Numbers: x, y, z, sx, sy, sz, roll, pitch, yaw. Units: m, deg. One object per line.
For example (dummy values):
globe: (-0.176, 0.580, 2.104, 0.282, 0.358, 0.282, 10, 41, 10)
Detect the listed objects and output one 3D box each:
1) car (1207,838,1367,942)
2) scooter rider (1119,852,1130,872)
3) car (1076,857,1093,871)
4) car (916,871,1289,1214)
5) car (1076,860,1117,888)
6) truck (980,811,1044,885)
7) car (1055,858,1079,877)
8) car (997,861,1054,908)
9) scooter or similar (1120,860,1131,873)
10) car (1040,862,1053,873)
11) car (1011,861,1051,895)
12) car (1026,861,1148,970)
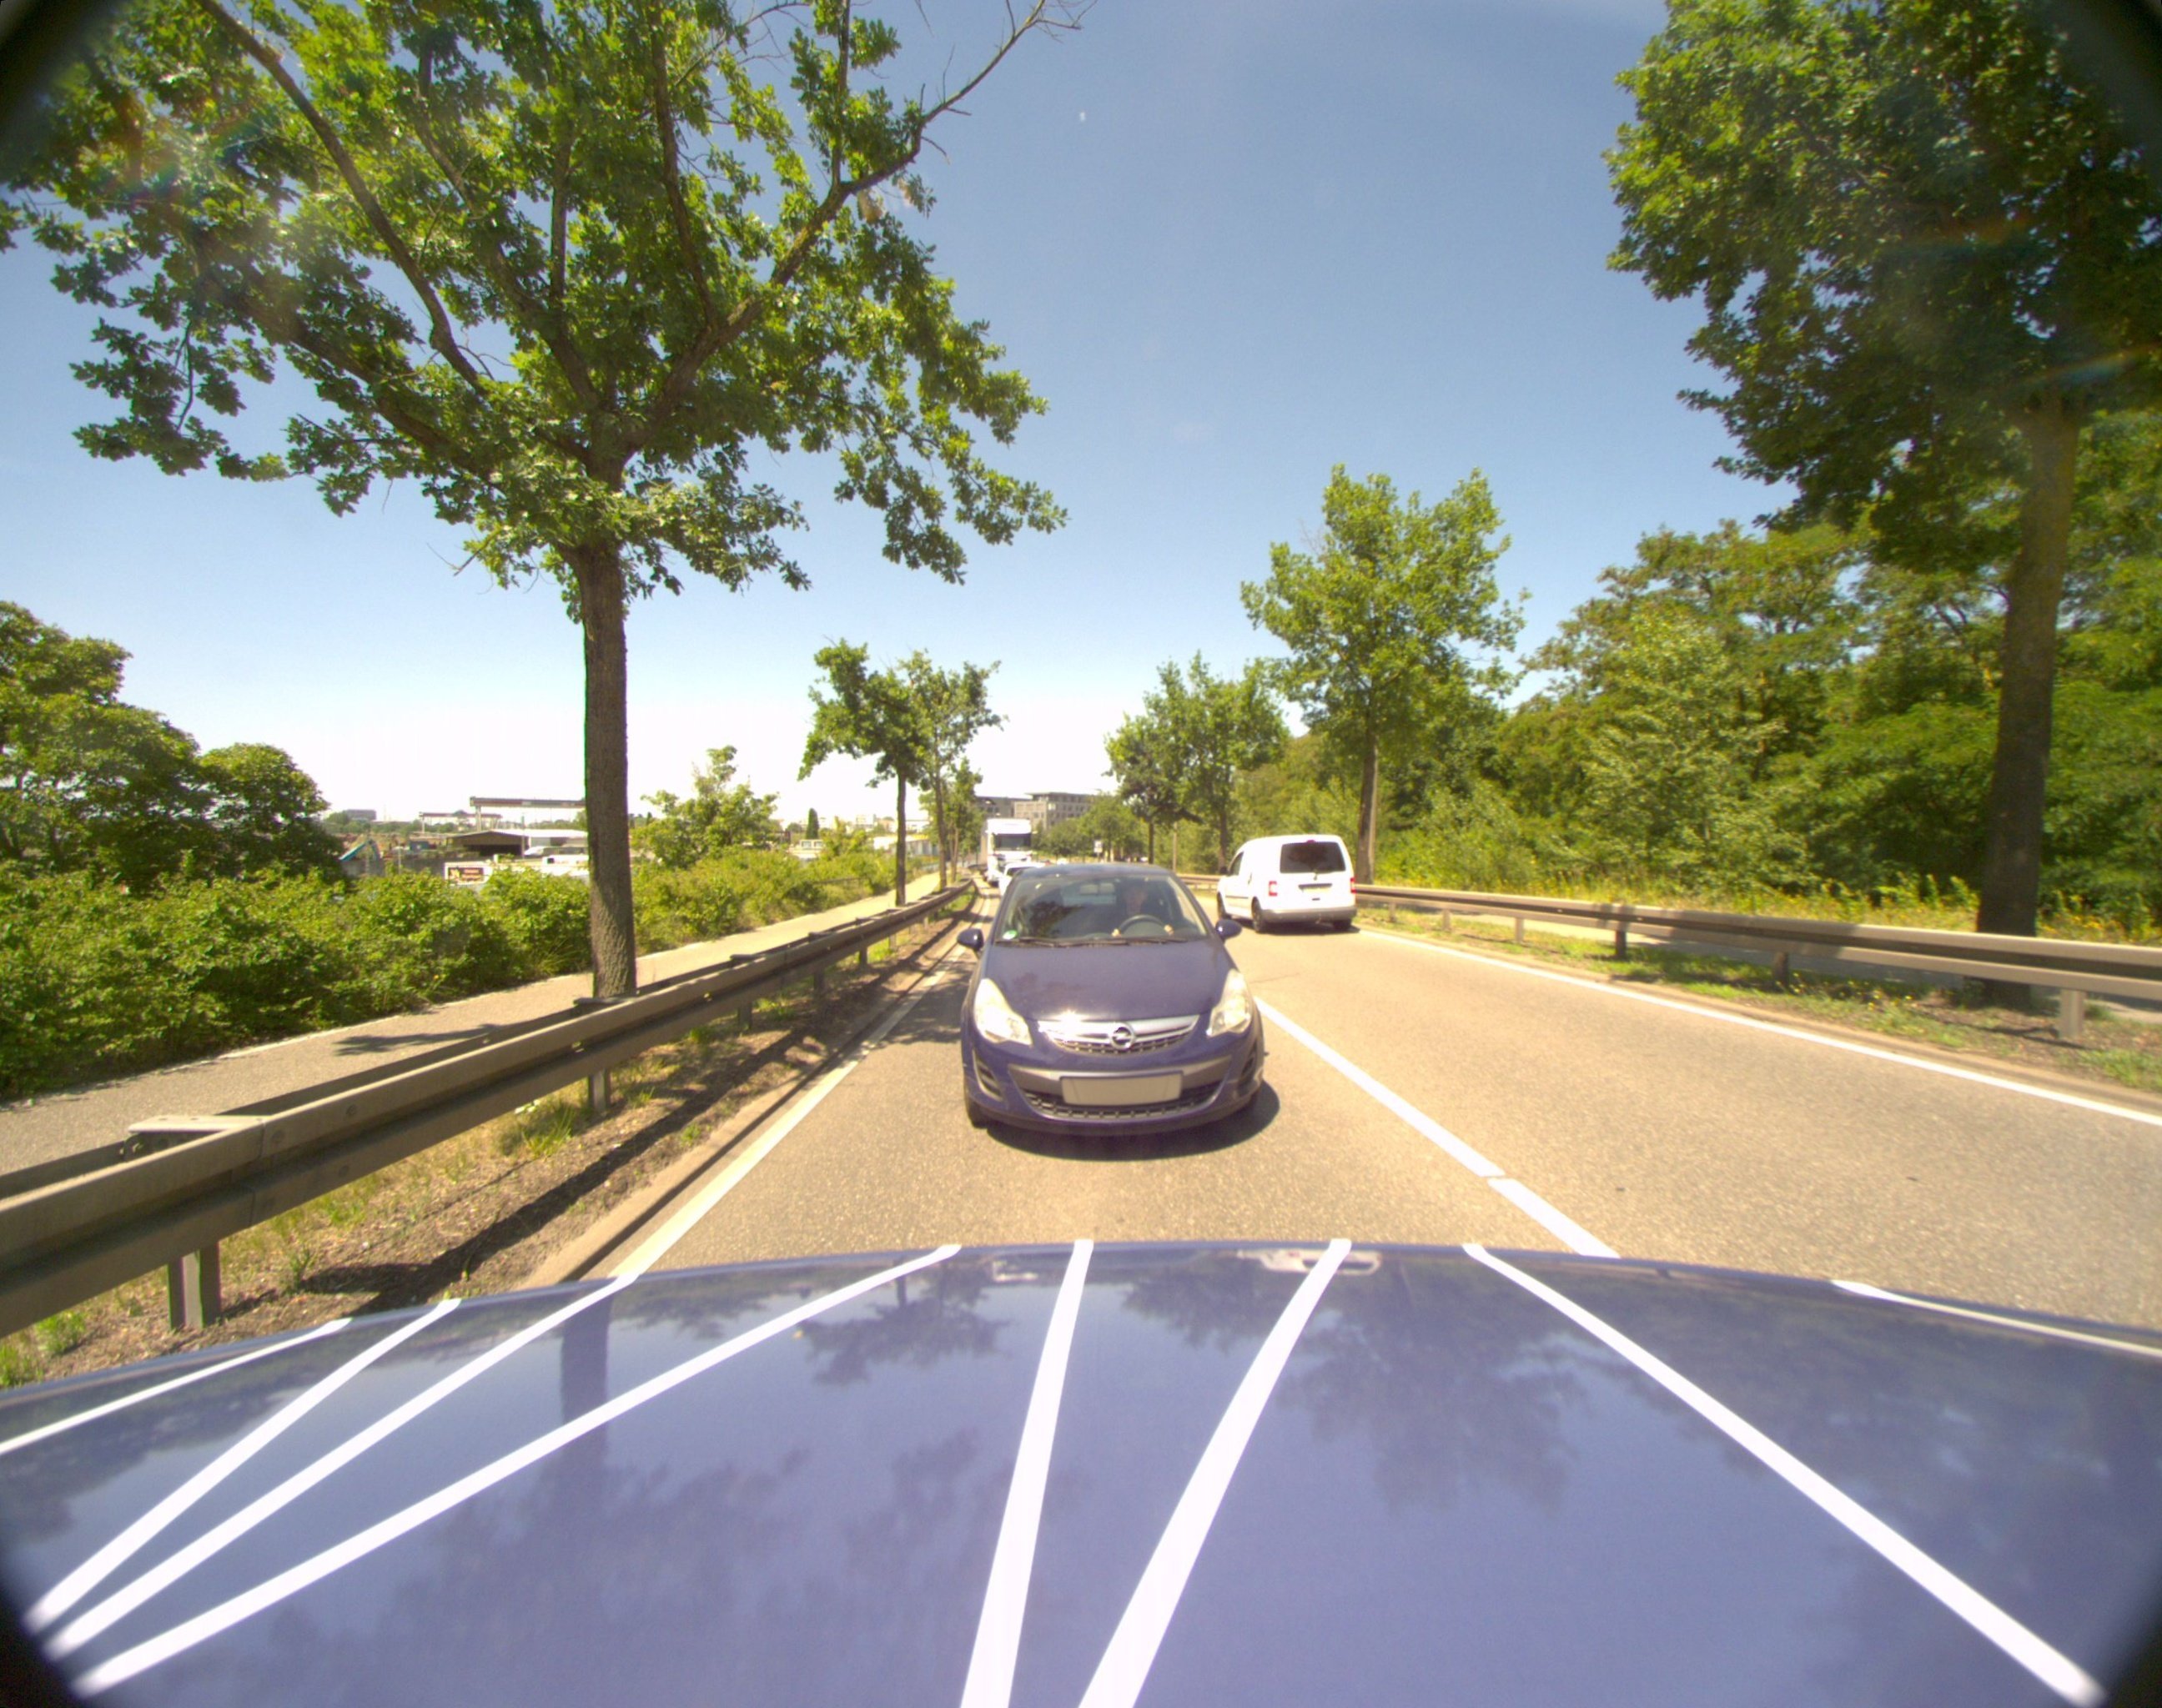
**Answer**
car: (3.959, 0.616, 15.430, 1.750, 1.753, 4.387, -2, 0, -4)
scooter rider: (3.833, 0.692, 66.570, 0.779, 1.648, 1.120, -2, 1, -4)
car: (0.461, 1.225, 94.597, 1.873, 1.594, 4.394, -2, 0, 2)
car: (0.059, 0.932, 5.518, 1.720, 1.455, 3.837, -2, 0, -2)
car: (0.791, 1.051, 40.862, 1.561, 1.364, 3.886, -2, 0, -8)
truck: (-5.073, -0.376, 52.039, 3.073, 4.146, 16.896, -2, 0, -9)
car: (-1.323, 1.181, 67.837, 1.755, 1.546, 4.124, -2, 0, -6)
car: (-1.921, 1.006, 26.492, 1.781, 1.398, 3.998, -2, 0, -4)
scooter or similar: (3.857, 1.082, 66.580, 0.779, 1.085, 1.094, -2, 1, -5)
car: (-6.638, 2.535, 146.014, 1.779, 2.002, 4.002, -2, 0, 9)
car: (-2.628, 1.175, 39.340, 1.781, 1.569, 3.997, -2, 0, -7)
car: (0.033, 0.939, 13.316, 1.780, 1.498, 3.895, -2, 0, -2)
